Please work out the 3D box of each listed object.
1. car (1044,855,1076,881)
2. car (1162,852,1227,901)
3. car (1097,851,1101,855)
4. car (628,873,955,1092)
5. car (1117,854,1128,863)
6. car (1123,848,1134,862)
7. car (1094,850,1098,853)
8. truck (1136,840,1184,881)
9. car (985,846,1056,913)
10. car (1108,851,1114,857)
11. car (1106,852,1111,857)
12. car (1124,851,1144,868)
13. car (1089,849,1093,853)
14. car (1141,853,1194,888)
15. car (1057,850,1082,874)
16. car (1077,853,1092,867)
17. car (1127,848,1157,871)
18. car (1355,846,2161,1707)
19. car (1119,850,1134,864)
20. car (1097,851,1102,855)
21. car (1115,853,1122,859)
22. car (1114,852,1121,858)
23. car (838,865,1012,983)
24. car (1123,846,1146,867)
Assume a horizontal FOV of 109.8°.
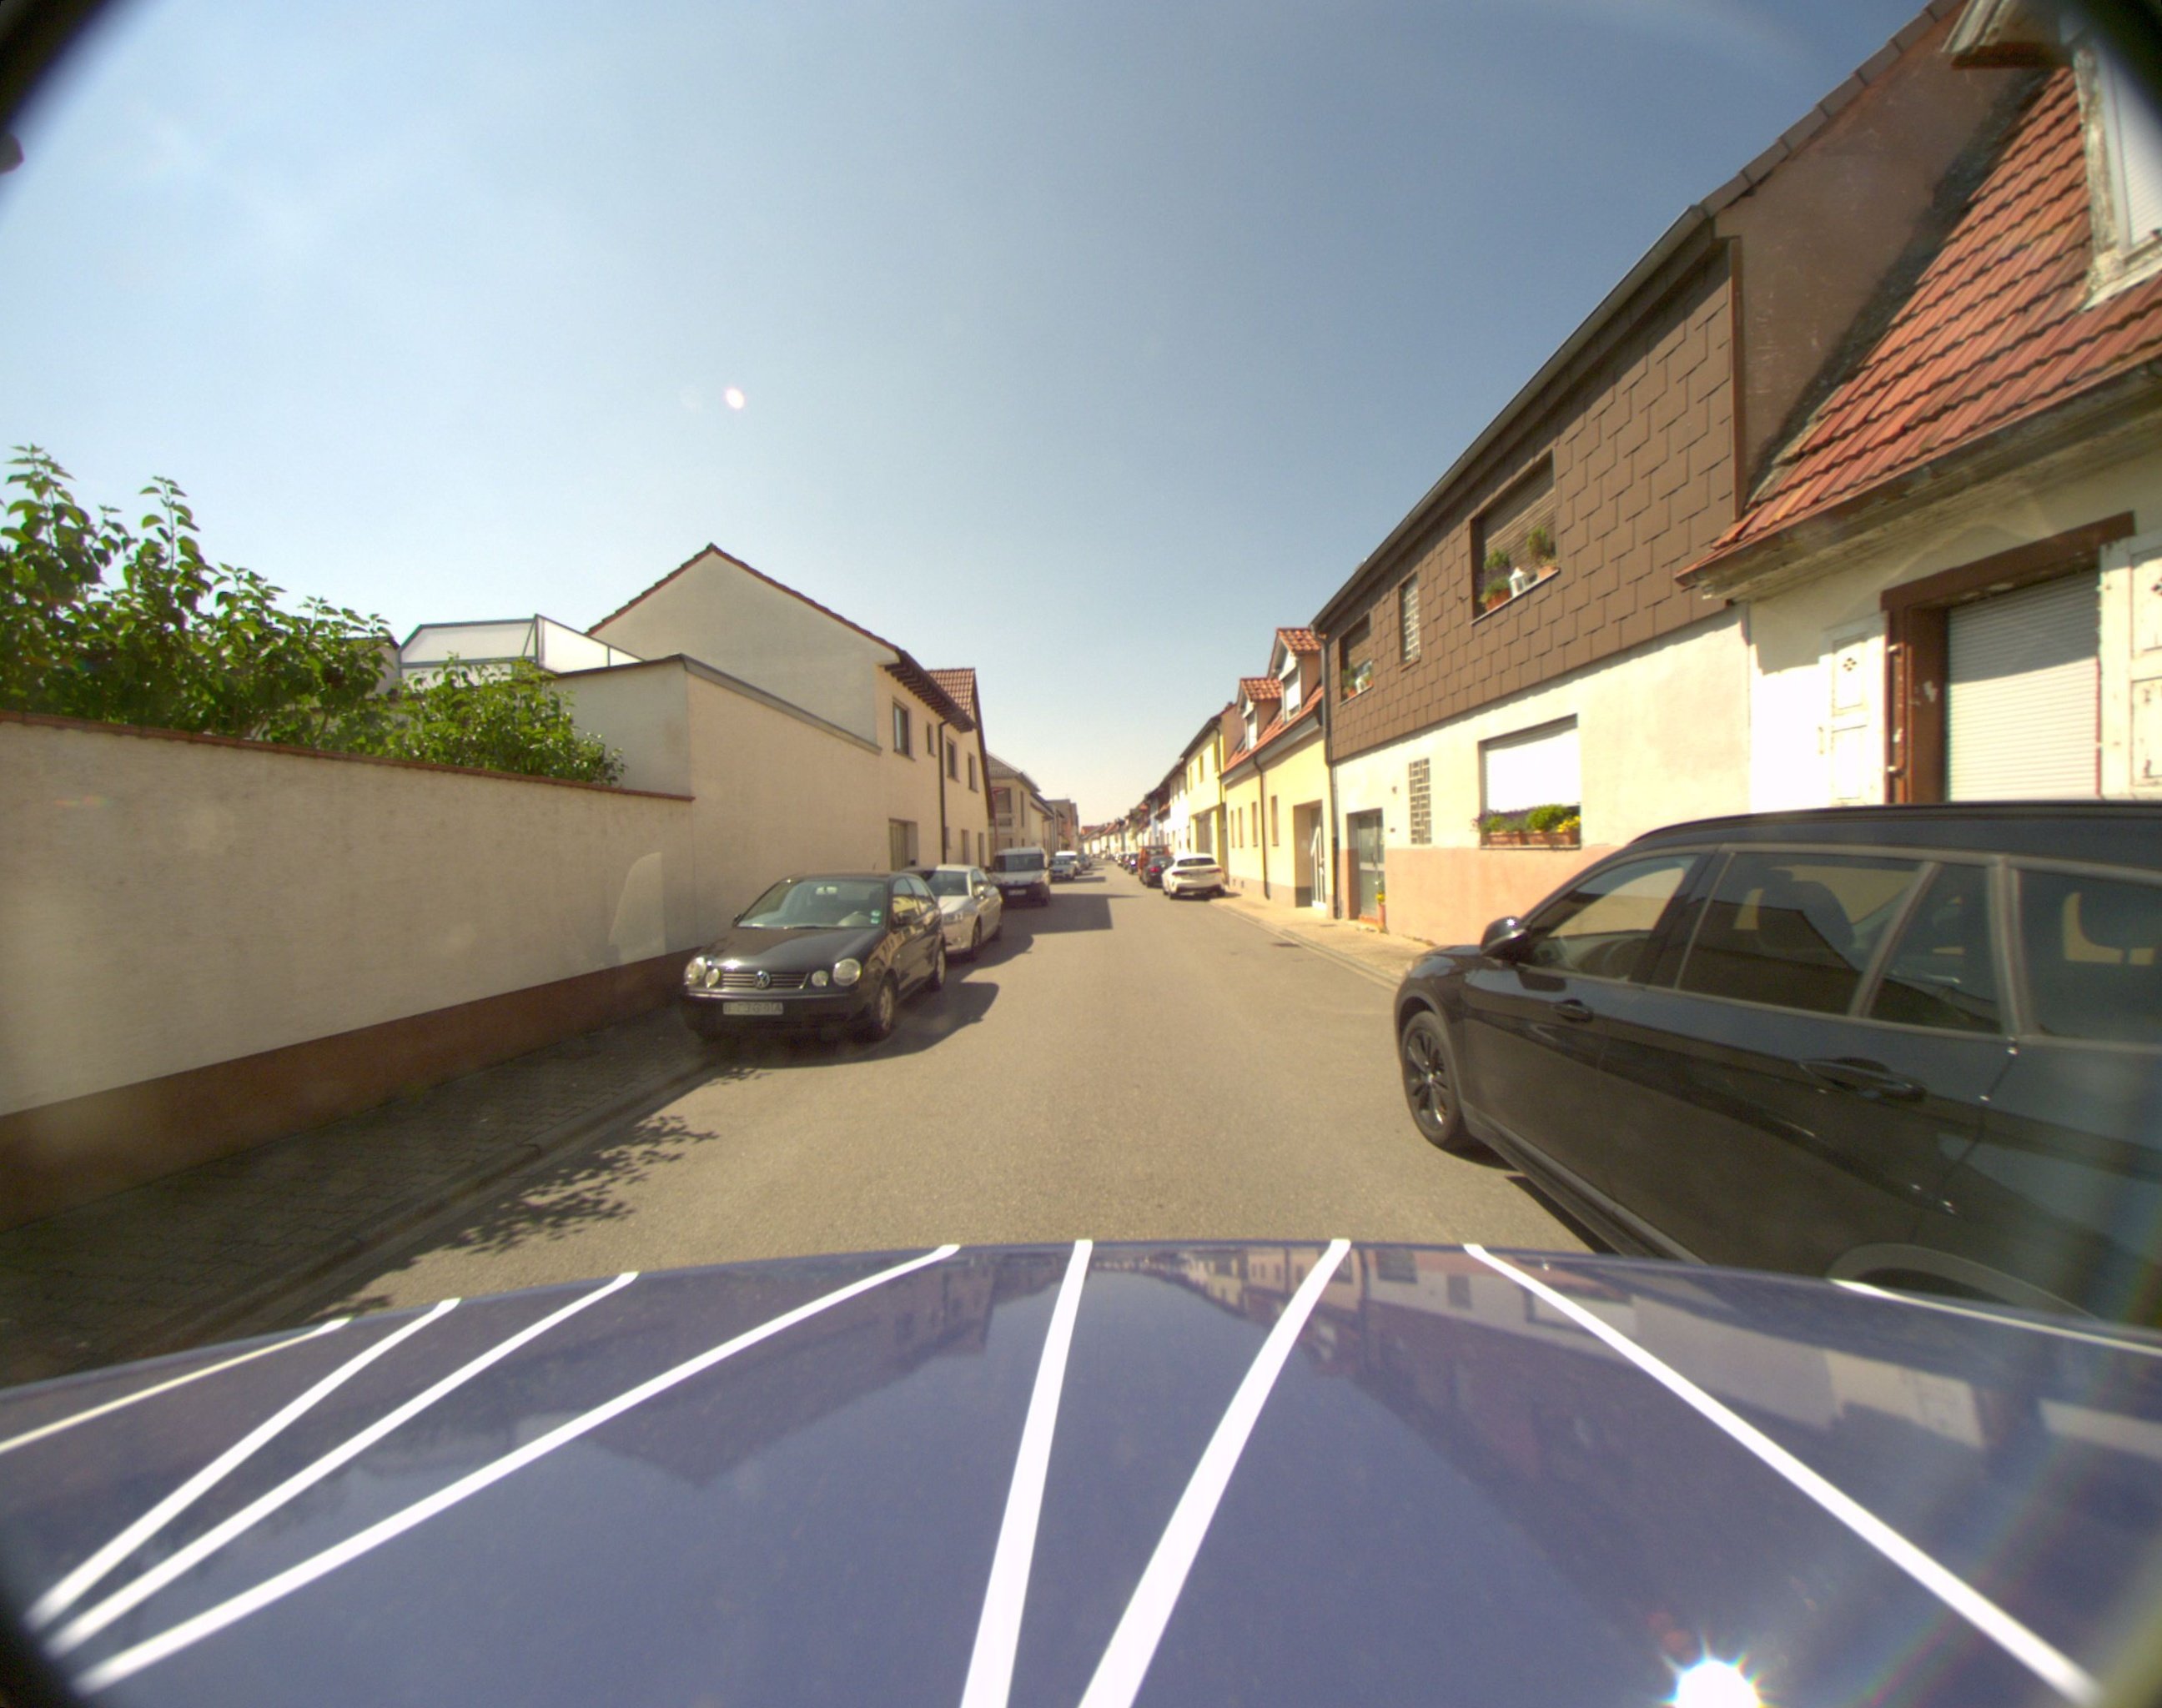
[{"bbox_3d":[-1.239,0.835,46.657,1.638,1.360,3.928,-3,1,2],"label":"car"},{"bbox_3d":[3.774,0.715,25.891,1.786,1.445,4.215,-1,1,3],"label":"car"},{"bbox_3d":[5.439,-0.381,231.366,1.295,1.177,2.964,-1,0,2],"label":"car"},{"bbox_3d":[-2.483,1.007,7.697,1.653,1.428,4.134,-1,1,1],"label":"car"},{"bbox_3d":[5.268,0.550,96.180,1.295,1.070,2.765,-1,0,2],"label":"car"},{"bbox_3d":[6.475,0.084,103.674,1.295,1.820,2.964,-1,0,2],"label":"car"},{"bbox_3d":[4.728,-0.780,242.917,1.295,1.177,2.964,-1,0,2],"label":"car"},{"bbox_3d":[4.092,0.287,40.043,2.187,2.002,5.080,-1,1,2],"label":"truck"},{"bbox_3d":[-1.828,0.703,24.333,1.814,1.814,4.849,-3,1,0],"label":"car"},{"bbox_3d":[6.819,0.001,174.796,1.295,1.177,2.964,-1,0,2],"label":"car"},{"bbox_3d":[6.857,0.079,191.612,1.295,1.177,2.964,-1,0,2],"label":"car"},{"bbox_3d":[5.042,0.487,72.530,1.724,1.493,4.215,-1,0,2],"label":"car"},{"bbox_3d":[3.303,-0.893,253.025,1.295,1.177,2.963,-1,0,-2],"label":"car"},{"bbox_3d":[3.850,0.706,34.467,1.926,1.386,4.631,1,1,1],"label":"car"},{"bbox_3d":[-0.799,0.565,56.109,1.684,1.719,3.787,-1,0,1],"label":"car"},{"bbox_3d":[0.412,0.656,83.351,1.521,1.417,3.864,-1,0,1],"label":"car"},{"bbox_3d":[4.403,0.379,55.076,1.849,1.604,4.000,-1,0,1],"label":"car"},{"bbox_3d":[2.447,0.790,2.318,1.804,1.565,4.615,-1,1,4],"label":"car"},{"bbox_3d":[5.331,0.363,89.777,1.677,1.565,4.109,-1,0,2],"label":"car"},{"bbox_3d":[5.424,-0.409,223.022,1.295,1.177,2.964,-1,0,2],"label":"car"},{"bbox_3d":[6.777,0.363,136.971,1.295,1.177,2.964,-1,0,2],"label":"car"},{"bbox_3d":[7.295,0.261,152.100,1.295,1.177,2.964,-1,0,2],"label":"car"},{"bbox_3d":[-2.375,0.995,12.923,1.795,1.473,4.933,0,1,2],"label":"car"},{"bbox_3d":[5.652,0.221,80.664,1.999,2.002,3.998,-1,2,-2],"label":"car"}]
